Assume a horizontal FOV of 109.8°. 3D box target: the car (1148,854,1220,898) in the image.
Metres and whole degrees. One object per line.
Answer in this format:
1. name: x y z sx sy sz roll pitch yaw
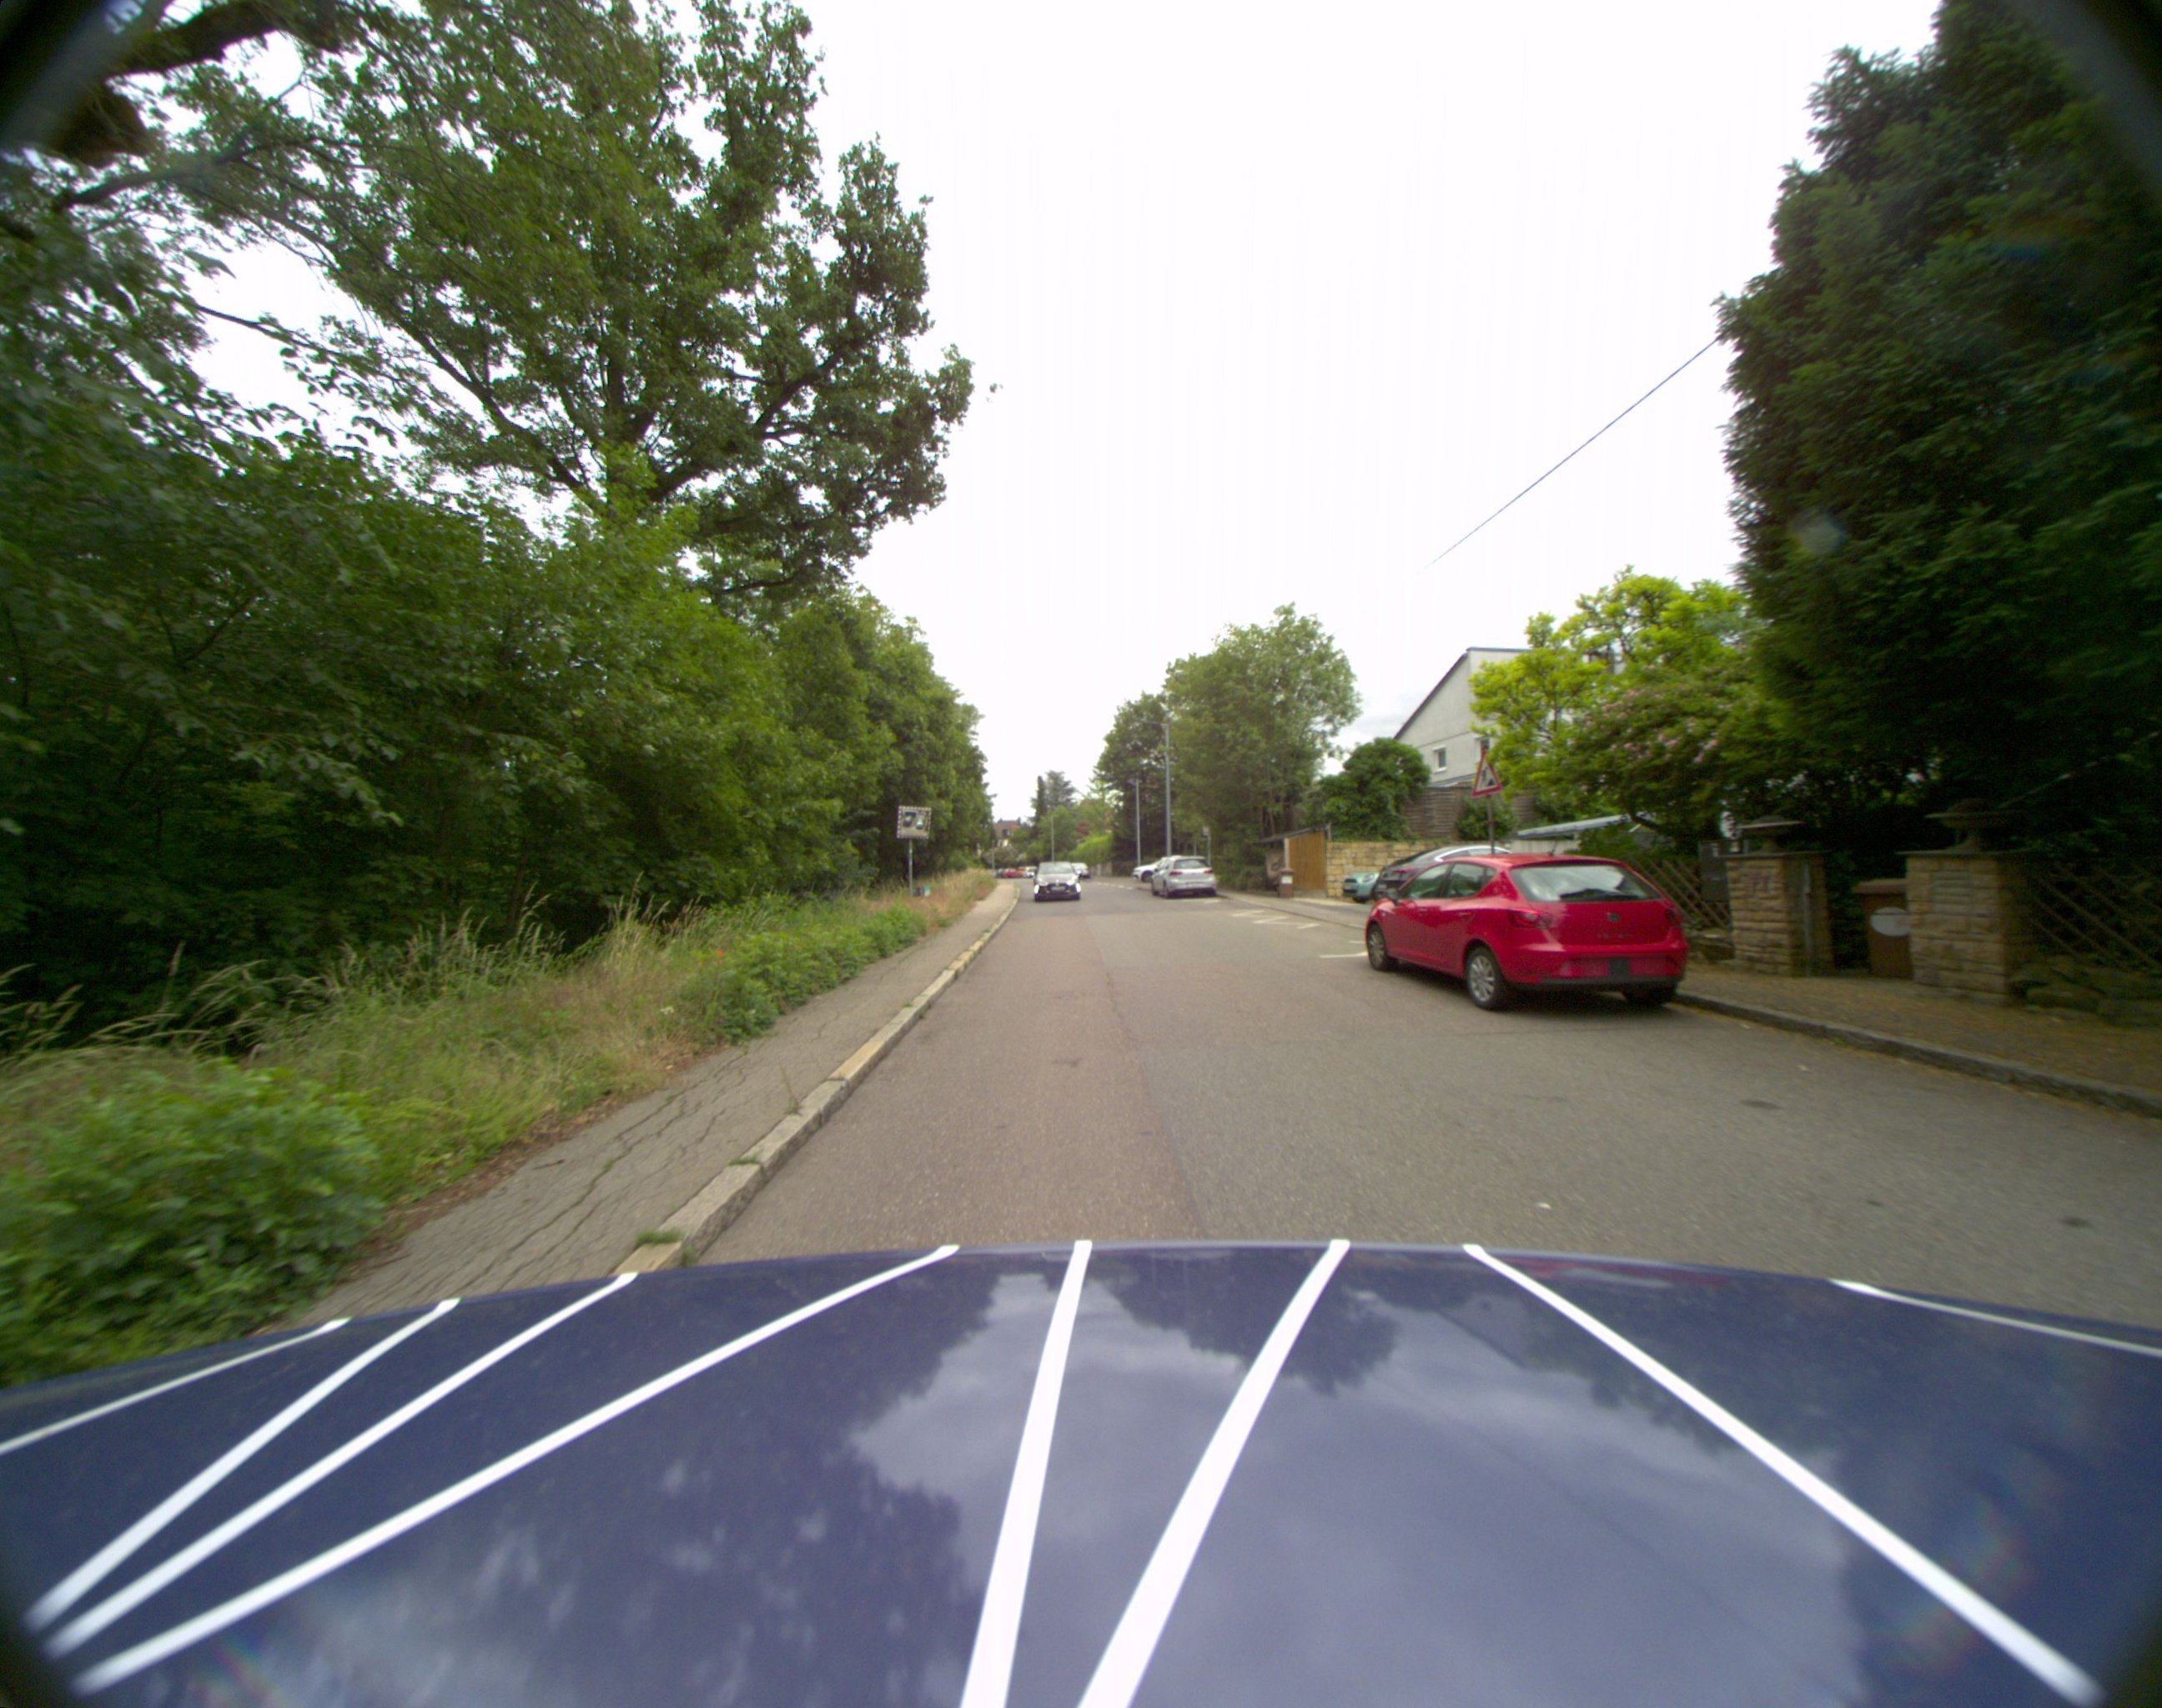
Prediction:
1. car: 3.657 0.751 27.553 1.765 1.441 4.042 -2 0 -4

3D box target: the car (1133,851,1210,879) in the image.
1. car: 5.811 0.708 49.353 4.707 1.678 2.000 -2 0 -2

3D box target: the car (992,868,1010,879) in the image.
1. car: -12.751 3.068 121.137 2.001 1.678 4.704 -2 0 -15

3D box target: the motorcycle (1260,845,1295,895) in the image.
1. motorcycle: 6.516 0.515 25.304 0.484 1.573 1.912 -2 0 -4

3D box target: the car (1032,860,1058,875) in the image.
1. car: -4.364 1.589 91.635 2.001 1.678 4.704 -2 0 -15

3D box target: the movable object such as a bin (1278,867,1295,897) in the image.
1. movable object such as a bin: 6.444 0.881 23.815 0.367 0.919 0.556 2 0 3

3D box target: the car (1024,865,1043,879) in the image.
1. car: -6.240 2.310 99.337 1.801 1.678 3.495 -2 0 -16

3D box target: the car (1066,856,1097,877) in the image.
1. car: -0.028 1.065 65.329 2.000 1.678 4.707 -2 0 -8

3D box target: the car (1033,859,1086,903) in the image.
1. car: -0.763 0.983 29.421 1.788 1.491 4.015 -2 0 1

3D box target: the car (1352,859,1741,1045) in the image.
1. car: 4.423 0.804 8.005 1.741 1.431 3.787 -2 0 0

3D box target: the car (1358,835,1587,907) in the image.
1. car: 9.574 0.412 18.851 4.617 1.378 1.891 -4 -1 1

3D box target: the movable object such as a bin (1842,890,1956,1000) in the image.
1. movable object such as a bin: 7.562 0.818 7.036 0.533 0.918 0.573 -2 1 -26

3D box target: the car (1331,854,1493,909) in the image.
1. car: 9.729 0.808 22.516 3.964 1.378 1.822 3 -1 -2

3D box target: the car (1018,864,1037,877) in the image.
1. car: -7.296 2.232 103.555 1.801 1.678 3.495 -2 0 -16

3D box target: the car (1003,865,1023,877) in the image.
1. car: -10.041 2.522 111.546 2.001 1.678 4.704 -2 0 -17
